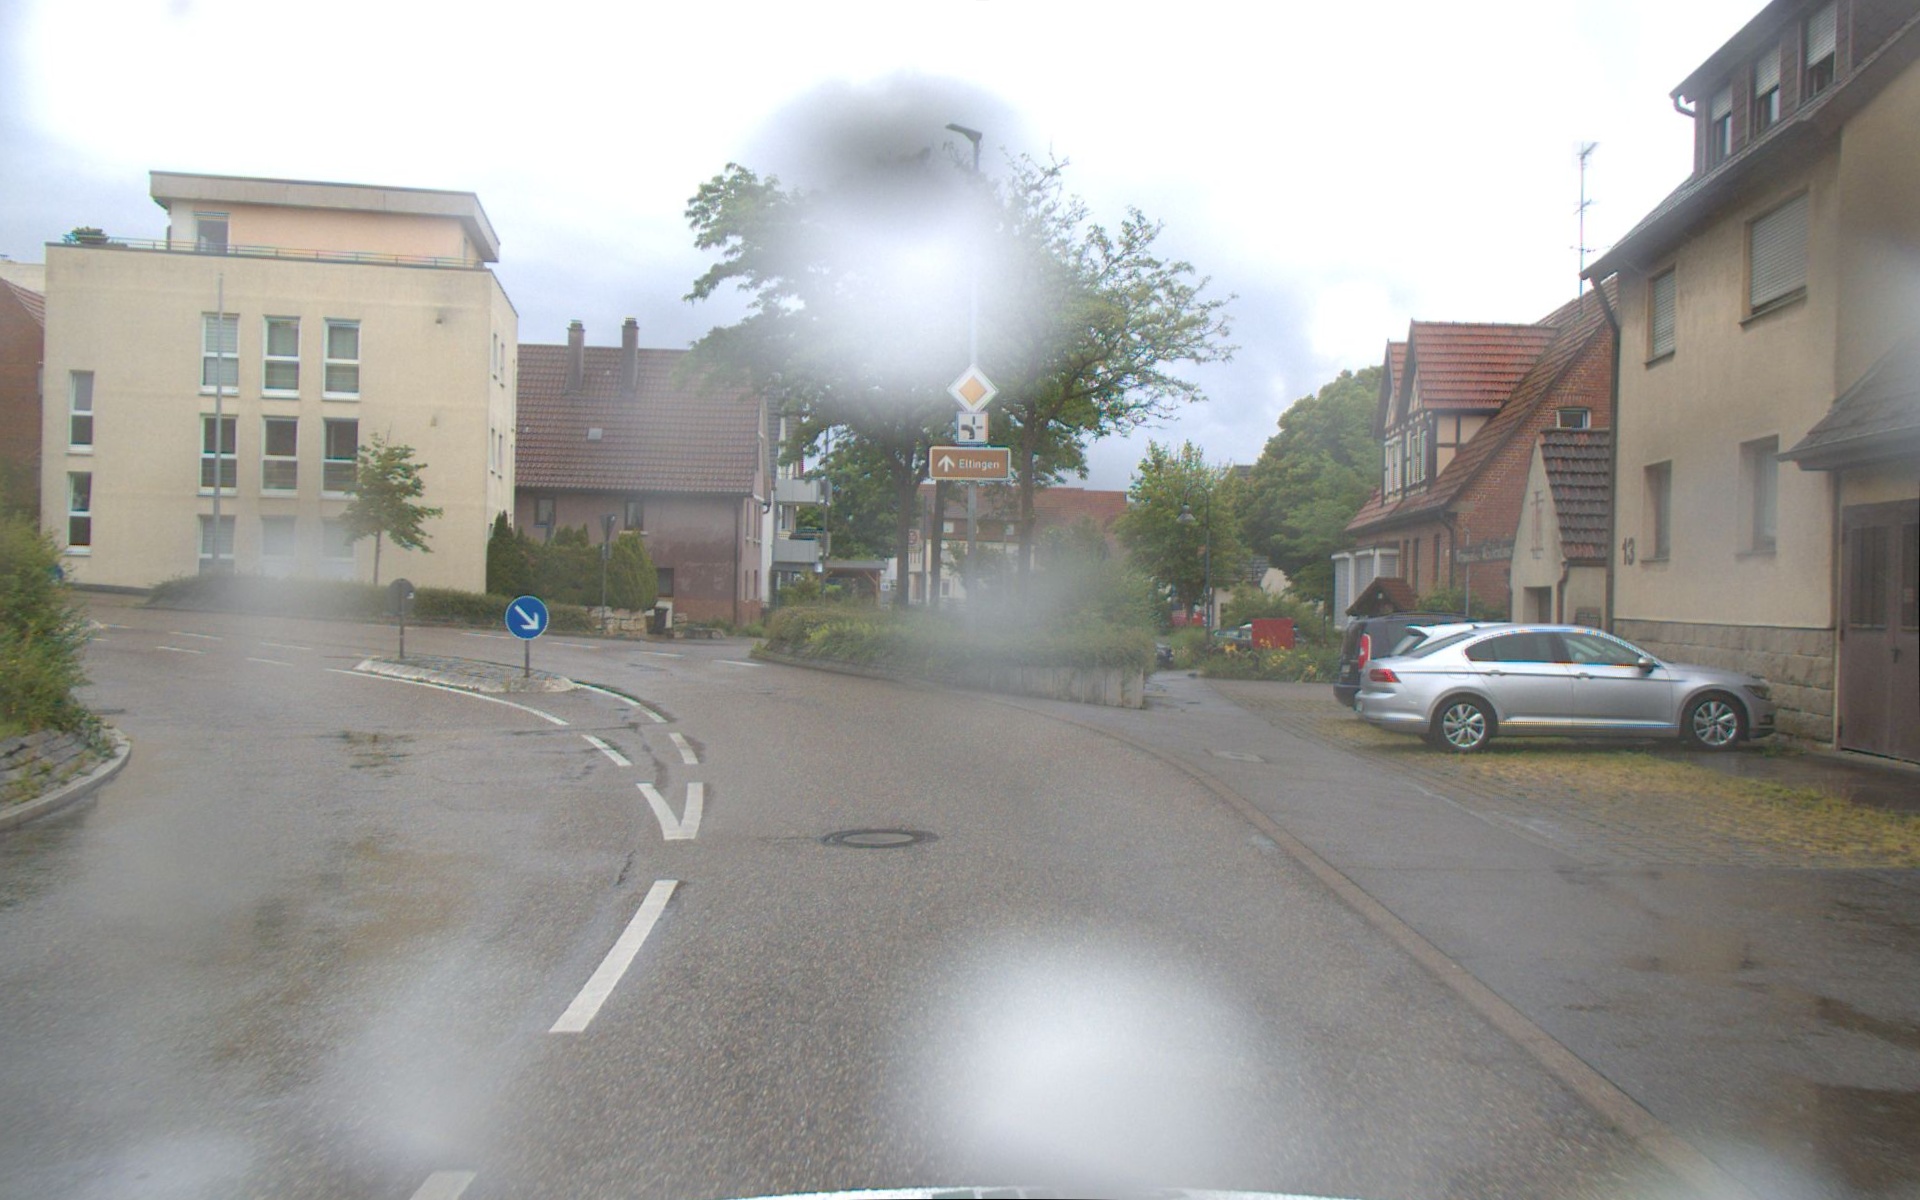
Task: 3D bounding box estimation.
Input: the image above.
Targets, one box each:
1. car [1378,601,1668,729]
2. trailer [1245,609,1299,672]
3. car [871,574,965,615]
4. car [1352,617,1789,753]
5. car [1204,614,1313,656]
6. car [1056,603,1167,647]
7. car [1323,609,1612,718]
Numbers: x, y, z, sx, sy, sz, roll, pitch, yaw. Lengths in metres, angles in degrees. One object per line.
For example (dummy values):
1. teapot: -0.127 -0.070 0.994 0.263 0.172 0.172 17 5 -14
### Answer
1. car: 7.599 0.907 22.570 3.348 1.556 1.719 -2 -4 3
2. trailer: 8.930 1.133 47.400 1.378 1.678 2.727 3 0 10
3. car: -1.792 -0.226 70.514 3.907 1.482 1.946 3 0 -2
4. car: 7.019 0.954 19.425 4.514 1.440 1.822 1 -1 7
5. car: 13.348 1.553 73.919 4.381 1.579 1.998 3 0 26
6. car: 5.178 0.831 56.379 3.688 1.361 1.715 1 0 6
7. car: 7.734 0.965 25.459 3.906 1.610 1.748 0 -1 -1
